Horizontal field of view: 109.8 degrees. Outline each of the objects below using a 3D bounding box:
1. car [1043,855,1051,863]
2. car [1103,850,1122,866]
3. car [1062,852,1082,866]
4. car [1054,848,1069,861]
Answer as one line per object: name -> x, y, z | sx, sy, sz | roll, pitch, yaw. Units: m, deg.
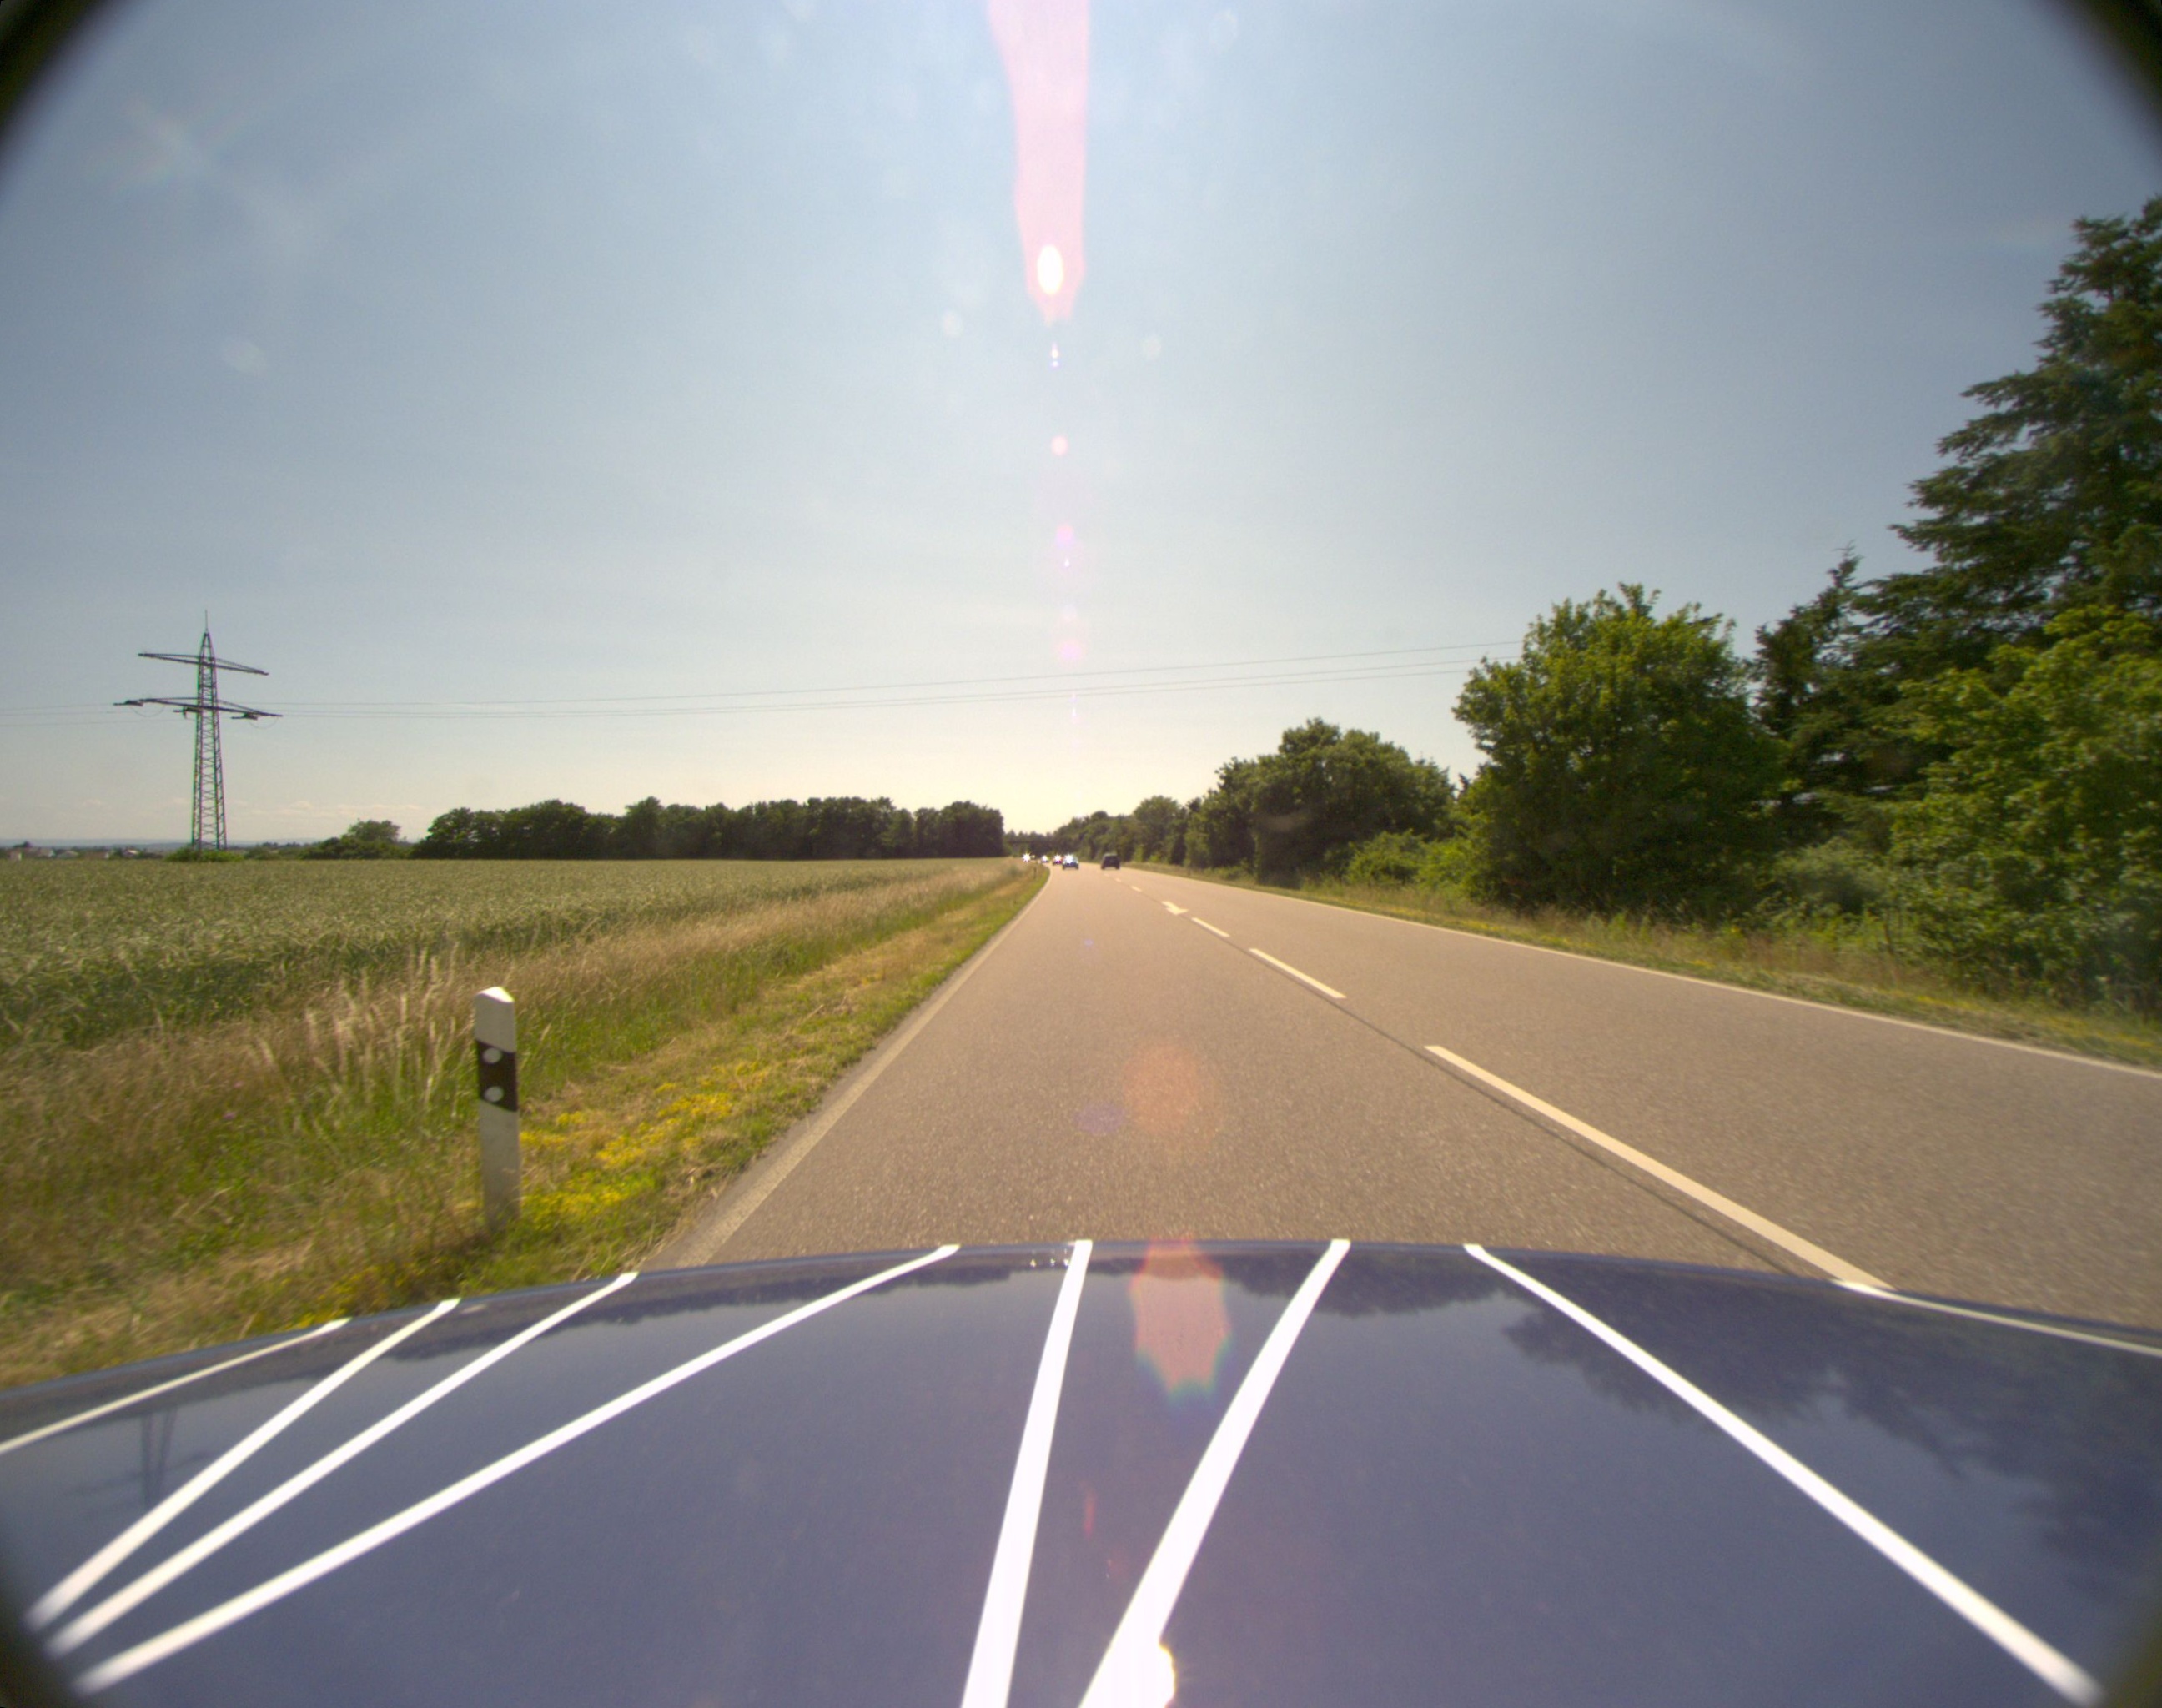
car -> -7.416, 1.068, 164.120 | 1.554, 1.659, 3.998 | -2, 1, -4
car -> 3.188, 0.419, 78.213 | 1.703, 1.557, 3.670 | -3, 0, -1
car -> -1.013, 0.555, 83.989 | 1.694, 1.431, 3.707 | -1, 0, -8
car -> -3.134, 0.142, 120.575 | 2.000, 2.002, 3.997 | -2, 0, -8
